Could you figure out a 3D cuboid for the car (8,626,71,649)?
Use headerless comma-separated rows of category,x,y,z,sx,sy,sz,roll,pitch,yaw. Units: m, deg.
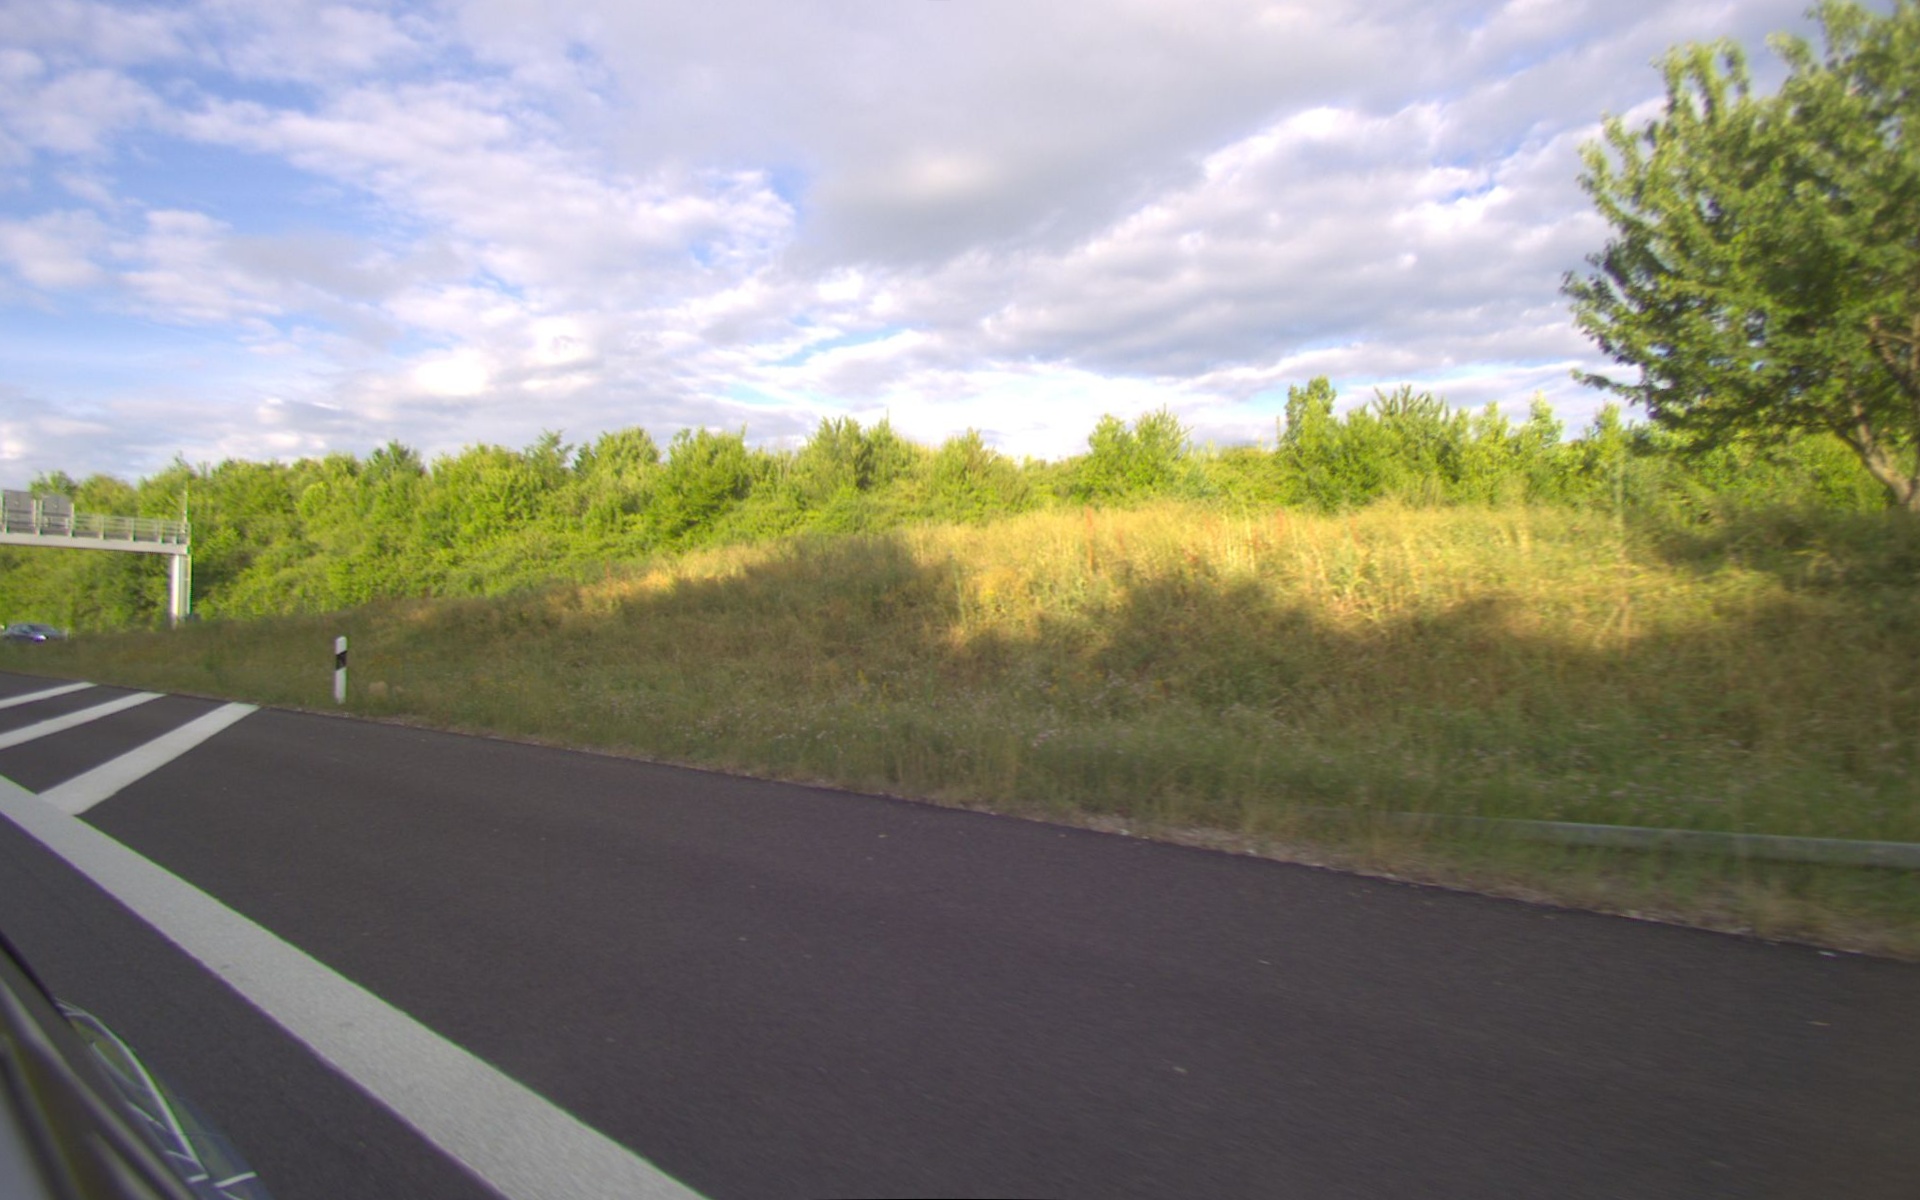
car,-55.167,2.247,60.631,3.989,1.301,1.860,0,-1,34
